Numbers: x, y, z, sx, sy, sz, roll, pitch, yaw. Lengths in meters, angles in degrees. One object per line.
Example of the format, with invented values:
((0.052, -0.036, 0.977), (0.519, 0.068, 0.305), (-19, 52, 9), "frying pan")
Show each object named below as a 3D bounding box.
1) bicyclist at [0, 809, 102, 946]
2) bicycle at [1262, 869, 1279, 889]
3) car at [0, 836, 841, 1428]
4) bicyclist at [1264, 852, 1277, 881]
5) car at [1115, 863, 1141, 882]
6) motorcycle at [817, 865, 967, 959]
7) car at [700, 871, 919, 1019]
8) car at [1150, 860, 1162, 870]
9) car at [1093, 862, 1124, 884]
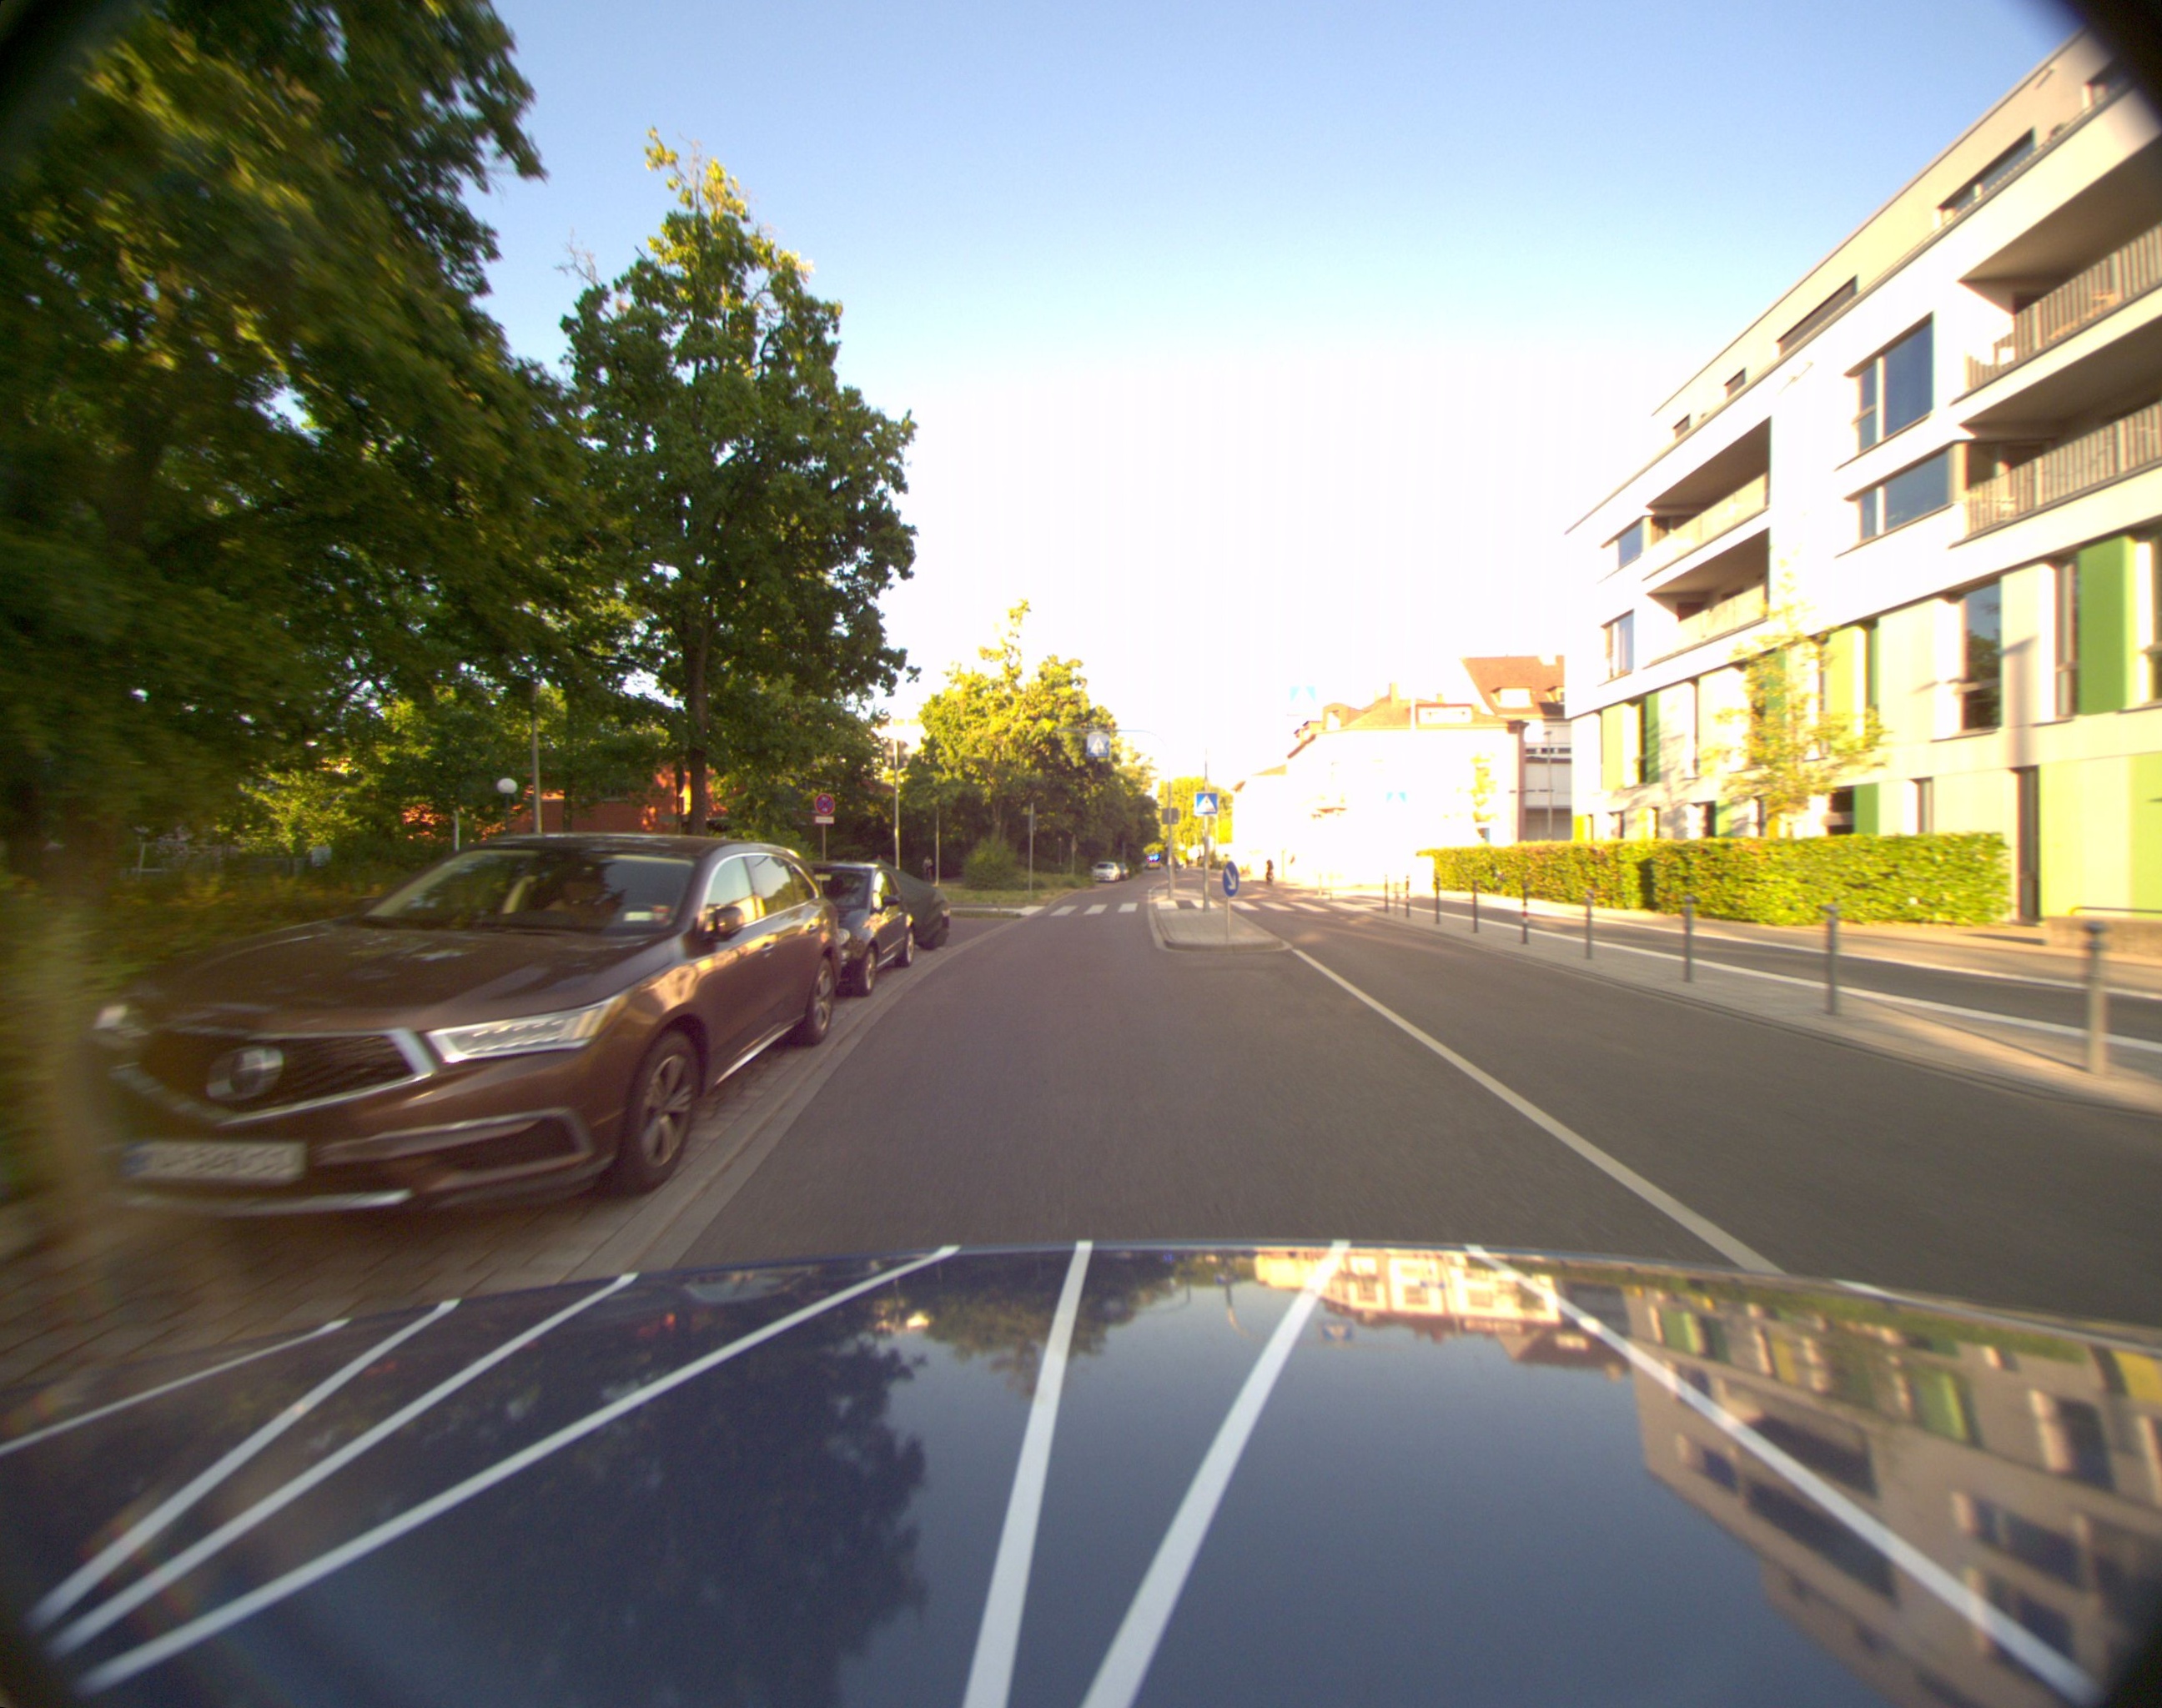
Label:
((-12.878, 0.283, 9.415), (0.533, 1.635, 0.725), (0, 0, 4), "bicyclist")
((10.765, 1.400, 43.257), (0.635, 1.072, 1.884), (0, 0, 5), "bicycle")
((-2.979, 0.829, 4.586), (1.927, 1.738, 4.664), (0, 0, -5), "car")
((10.771, 0.726, 43.259), (0.628, 1.635, 0.758), (0, 0, 5), "bicyclist")
((3.864, 1.482, 62.056), (1.751, 1.478, 4.512), (0, 0, 8), "car")
((-3.271, 0.974, 13.276), (2.295, 1.536, 1.040), (0, 0, 11), "motorcycle")
((-3.175, 0.979, 9.585), (1.624, 1.478, 3.418), (0, 0, -2), "car")
((15.277, 2.251, 154.489), (2.227, 2.002, 4.893), (0, 0, 6), "car")
((2.021, 1.361, 55.578), (1.751, 1.478, 4.179), (1, 0, 9), "car")
